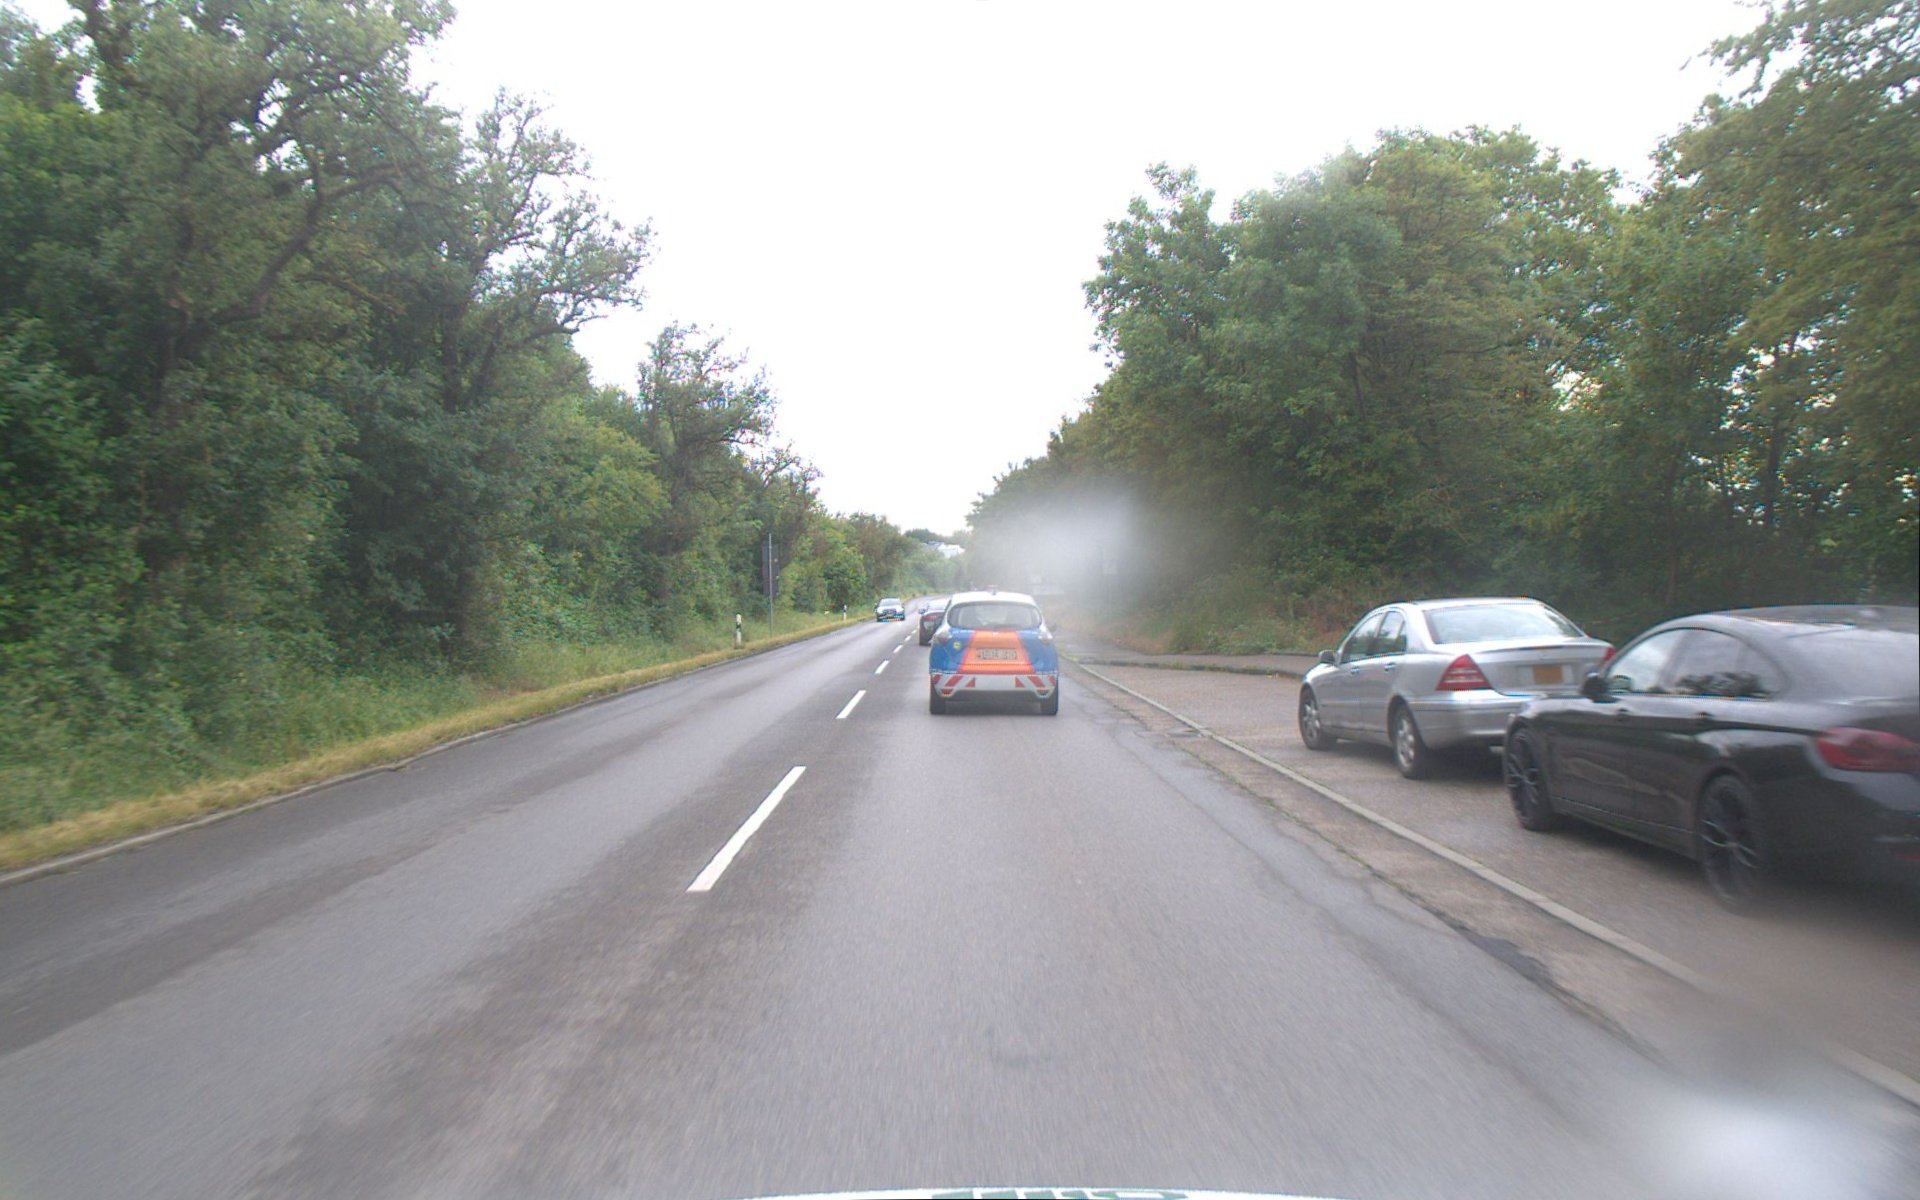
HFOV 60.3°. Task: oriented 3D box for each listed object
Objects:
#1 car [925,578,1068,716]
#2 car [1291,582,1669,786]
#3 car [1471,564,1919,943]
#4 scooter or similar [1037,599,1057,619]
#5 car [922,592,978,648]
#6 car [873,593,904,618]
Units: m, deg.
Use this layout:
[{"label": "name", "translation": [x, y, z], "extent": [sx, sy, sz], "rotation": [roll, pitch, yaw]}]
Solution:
[{"label": "car", "translation": [0.435, 0.595, 22.644], "extent": [1.769, 1.697, 3.855], "rotation": [1, 0, -1]}, {"label": "car", "translation": [4.444, 0.657, 14.860], "extent": [1.710, 1.494, 4.216], "rotation": [-2, 0, -5]}, {"label": "car", "translation": [4.537, 0.618, 9.274], "extent": [1.769, 1.536, 4.666], "rotation": [-3, 0, -1]}, {"label": "scooter or similar", "translation": [5.489, 0.549, 104.358], "extent": [1.303, 1.227, 0.372], "rotation": [-2, -1, 41]}, {"label": "car", "translation": [-0.302, 0.603, 51.267], "extent": [1.659, 1.623, 3.855], "rotation": [1, 0, 0]}, {"label": "car", "translation": [-4.805, 0.342, 110.985], "extent": [1.833, 1.515, 4.573], "rotation": [-4, 0, -1]}]
